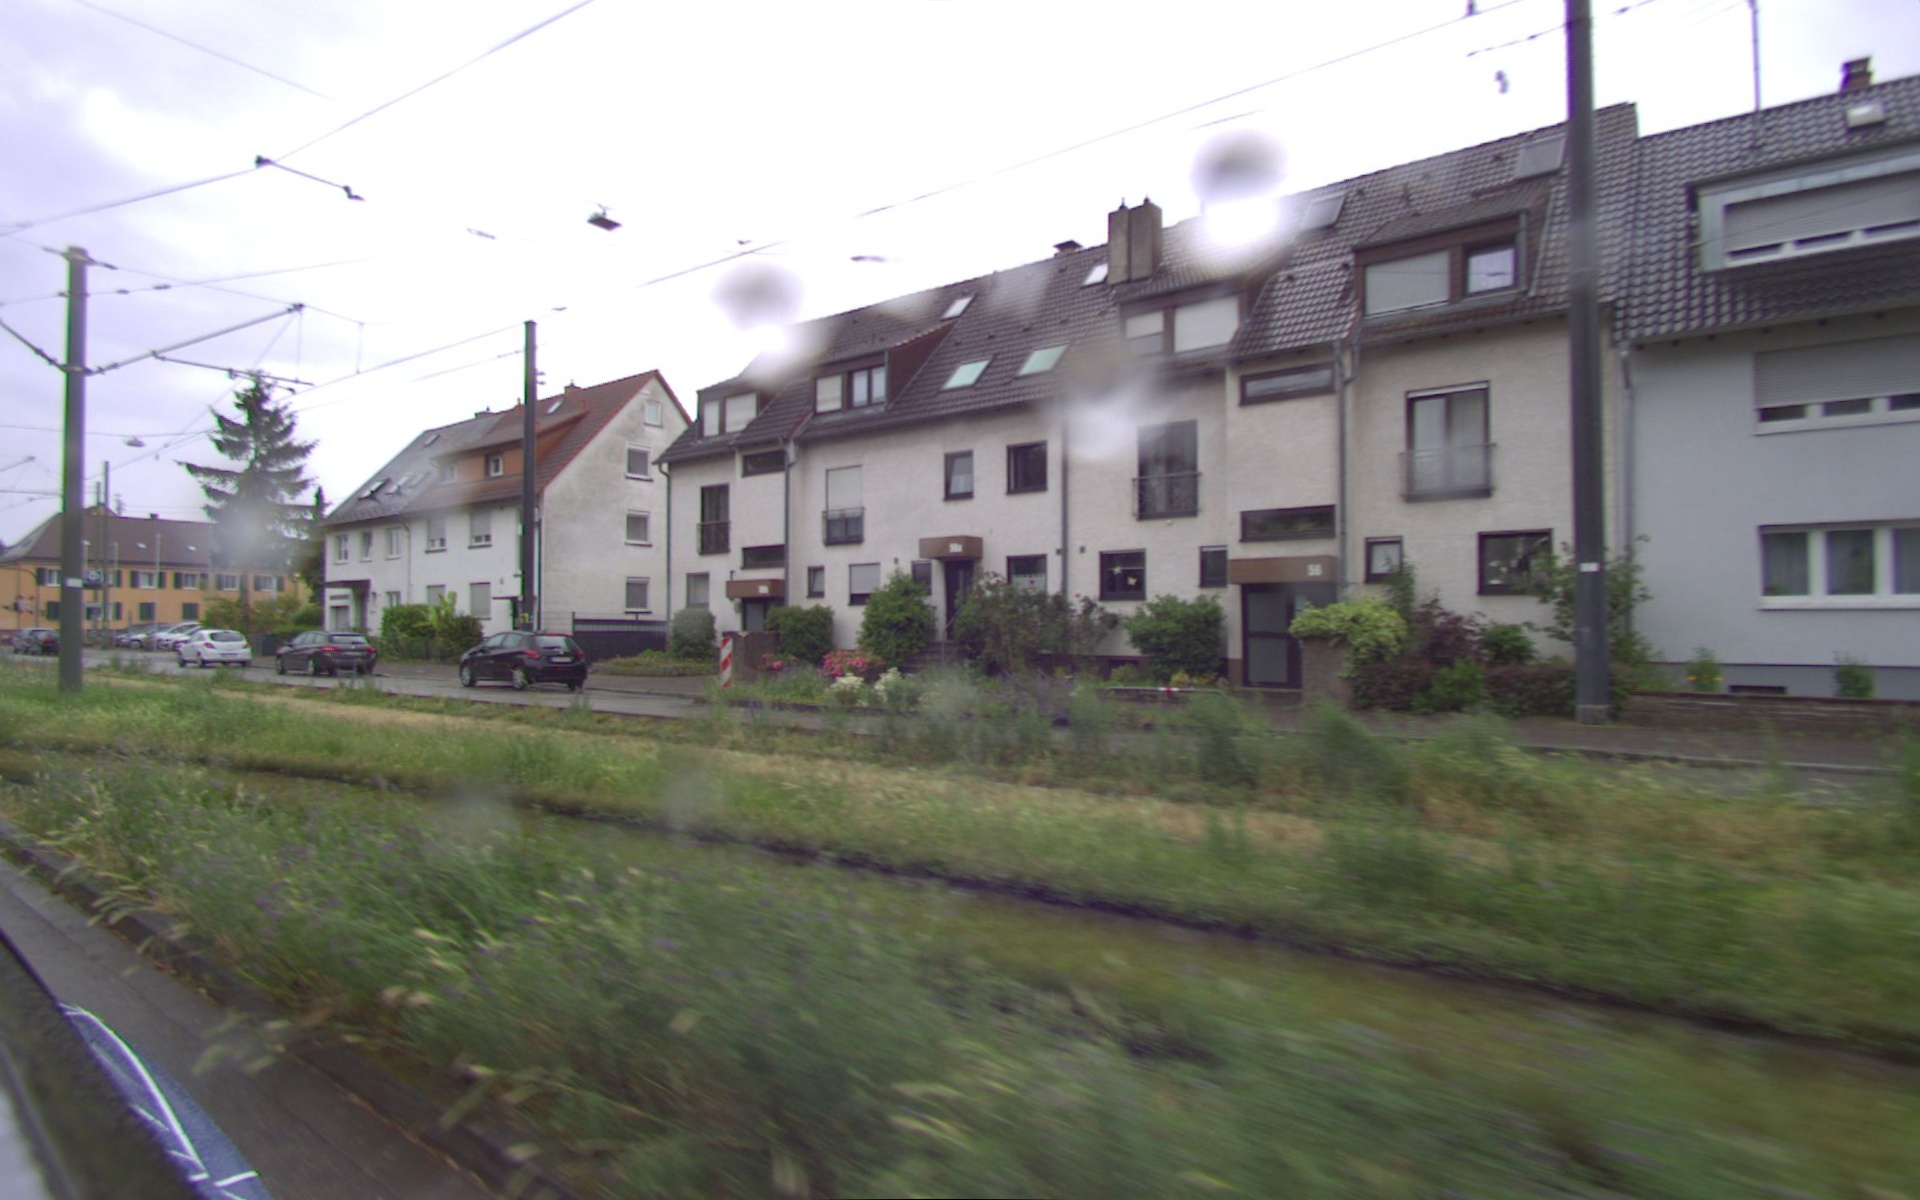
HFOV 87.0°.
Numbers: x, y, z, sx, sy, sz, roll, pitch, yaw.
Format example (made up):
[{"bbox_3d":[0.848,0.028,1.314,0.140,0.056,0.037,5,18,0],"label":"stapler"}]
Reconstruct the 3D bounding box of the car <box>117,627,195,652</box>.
[{"bbox_3d":[-54.253,2.647,68.369,3.932,1.607,1.919,0,-1,-33],"label":"car"}]

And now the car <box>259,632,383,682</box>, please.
[{"bbox_3d":[-21.125,1.833,33.396,4.748,1.543,1.869,-2,-3,37],"label":"car"}]

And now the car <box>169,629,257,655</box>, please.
[{"bbox_3d":[-45.427,2.525,61.592,1.912,1.475,3.947,-2,-1,39],"label":"car"}]

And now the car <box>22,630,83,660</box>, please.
[{"bbox_3d":[-51.584,2.543,57.489,3.994,1.602,1.889,-1,-3,38],"label":"car"}]

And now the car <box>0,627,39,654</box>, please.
[{"bbox_3d":[-61.965,2.644,66.248,3.997,1.670,1.973,-1,-1,40],"label":"car"}]

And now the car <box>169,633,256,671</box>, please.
[{"bbox_3d":[-29.844,2.049,40.371,3.993,1.451,1.695,-2,-3,37],"label":"car"}]

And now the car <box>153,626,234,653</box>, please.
[{"bbox_3d":[-49.351,2.516,65.189,3.941,1.607,1.915,0,-2,-45],"label":"car"}]

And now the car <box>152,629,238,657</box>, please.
[{"bbox_3d":[-47.485,2.637,62.903,1.912,1.607,3.947,-2,-2,39],"label":"car"}]

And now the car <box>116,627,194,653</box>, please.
[{"bbox_3d":[-52.694,2.603,66.316,3.936,1.607,1.917,0,-2,-39],"label":"car"}]

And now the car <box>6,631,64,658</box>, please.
[{"bbox_3d":[-55.232,2.656,60.412,3.994,1.541,1.859,-1,-3,38],"label":"car"}]

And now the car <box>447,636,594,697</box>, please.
[{"bbox_3d":[-11.166,1.639,25.647,3.932,1.437,1.756,-2,-3,38],"label":"car"}]
